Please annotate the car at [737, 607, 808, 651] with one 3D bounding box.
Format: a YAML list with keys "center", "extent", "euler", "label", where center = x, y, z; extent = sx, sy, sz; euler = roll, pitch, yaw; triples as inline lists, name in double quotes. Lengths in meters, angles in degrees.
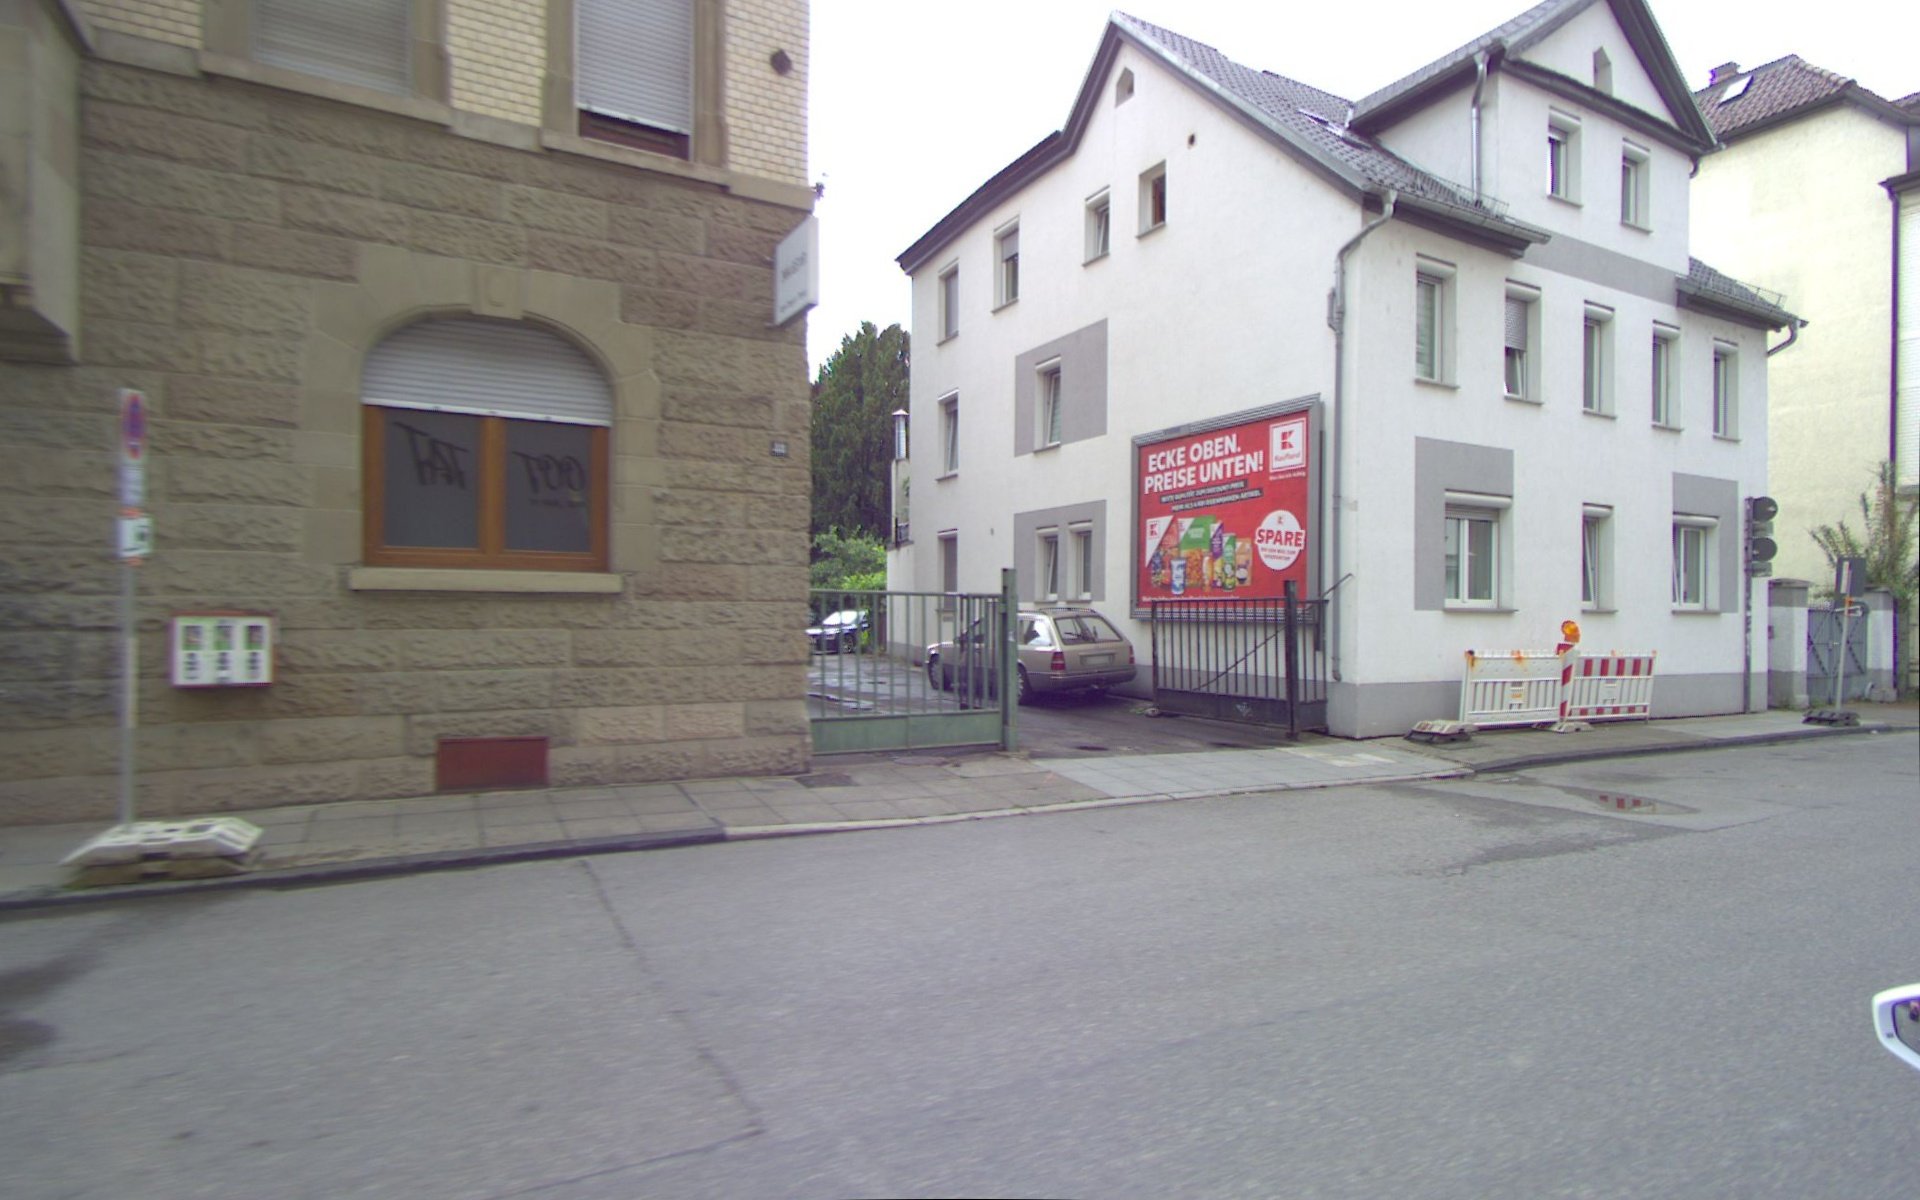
- center: [-6.859, 1.017, 36.552]
  extent: [1.704, 1.478, 3.400]
  euler: [2, -1, -26]
  label: "car"

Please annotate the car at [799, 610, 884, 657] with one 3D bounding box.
- center: [-3.953, 1.100, 34.048]
  extent: [1.685, 1.306, 3.724]
  euler: [3, 2, 12]
  label: "car"

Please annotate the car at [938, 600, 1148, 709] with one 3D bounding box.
- center: [1.277, 0.833, 17.095]
  extent: [1.775, 1.592, 3.900]
  euler: [2, 0, -27]
  label: "car"
